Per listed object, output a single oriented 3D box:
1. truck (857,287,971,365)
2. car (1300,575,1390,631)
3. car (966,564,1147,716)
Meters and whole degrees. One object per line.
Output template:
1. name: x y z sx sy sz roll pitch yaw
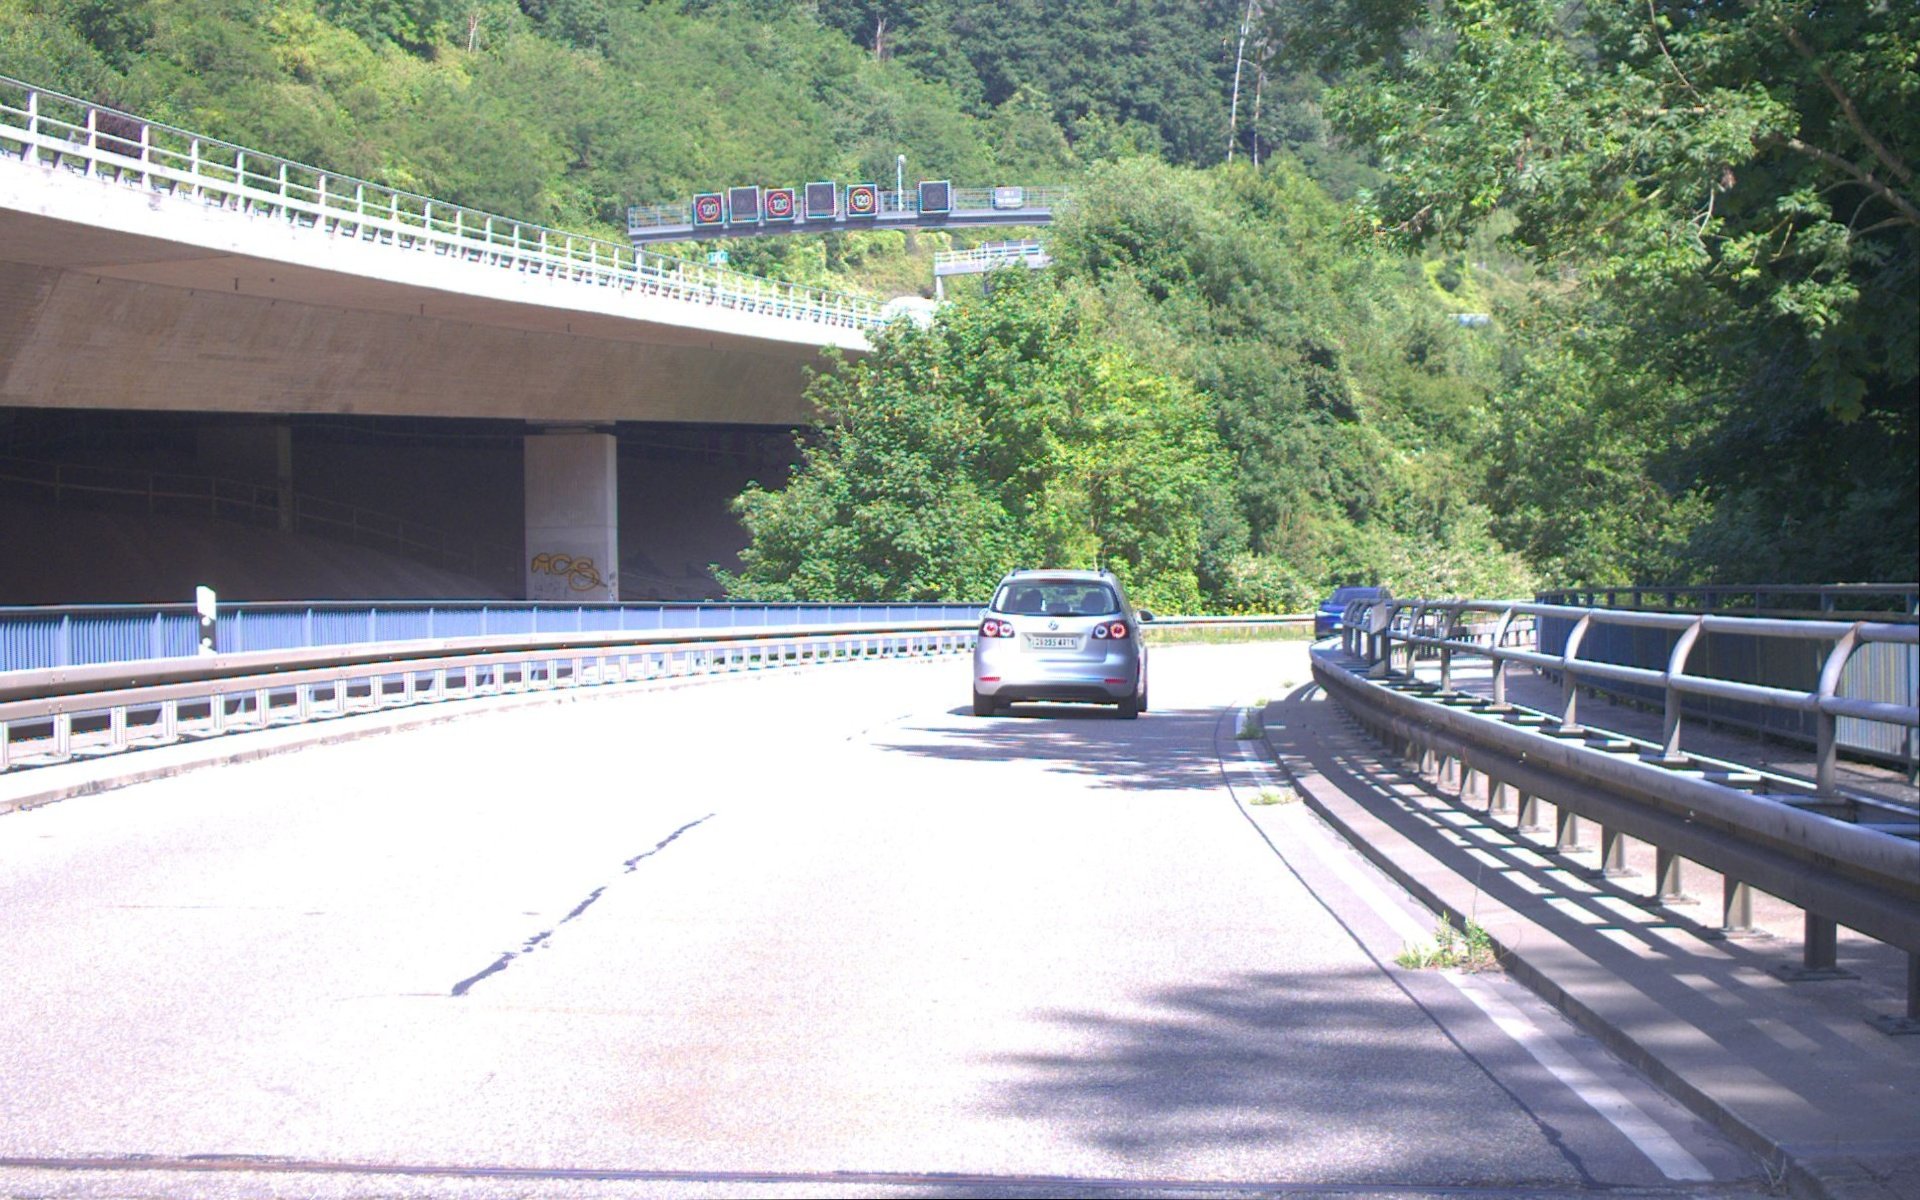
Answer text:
1. truck: -2.187 -13.434 169.422 3.372 3.343 10.171 1 2 12
2. car: 11.380 0.088 101.292 1.900 1.575 4.551 1 0 16
3. car: 1.098 0.418 37.294 1.751 1.515 4.158 1 0 4
